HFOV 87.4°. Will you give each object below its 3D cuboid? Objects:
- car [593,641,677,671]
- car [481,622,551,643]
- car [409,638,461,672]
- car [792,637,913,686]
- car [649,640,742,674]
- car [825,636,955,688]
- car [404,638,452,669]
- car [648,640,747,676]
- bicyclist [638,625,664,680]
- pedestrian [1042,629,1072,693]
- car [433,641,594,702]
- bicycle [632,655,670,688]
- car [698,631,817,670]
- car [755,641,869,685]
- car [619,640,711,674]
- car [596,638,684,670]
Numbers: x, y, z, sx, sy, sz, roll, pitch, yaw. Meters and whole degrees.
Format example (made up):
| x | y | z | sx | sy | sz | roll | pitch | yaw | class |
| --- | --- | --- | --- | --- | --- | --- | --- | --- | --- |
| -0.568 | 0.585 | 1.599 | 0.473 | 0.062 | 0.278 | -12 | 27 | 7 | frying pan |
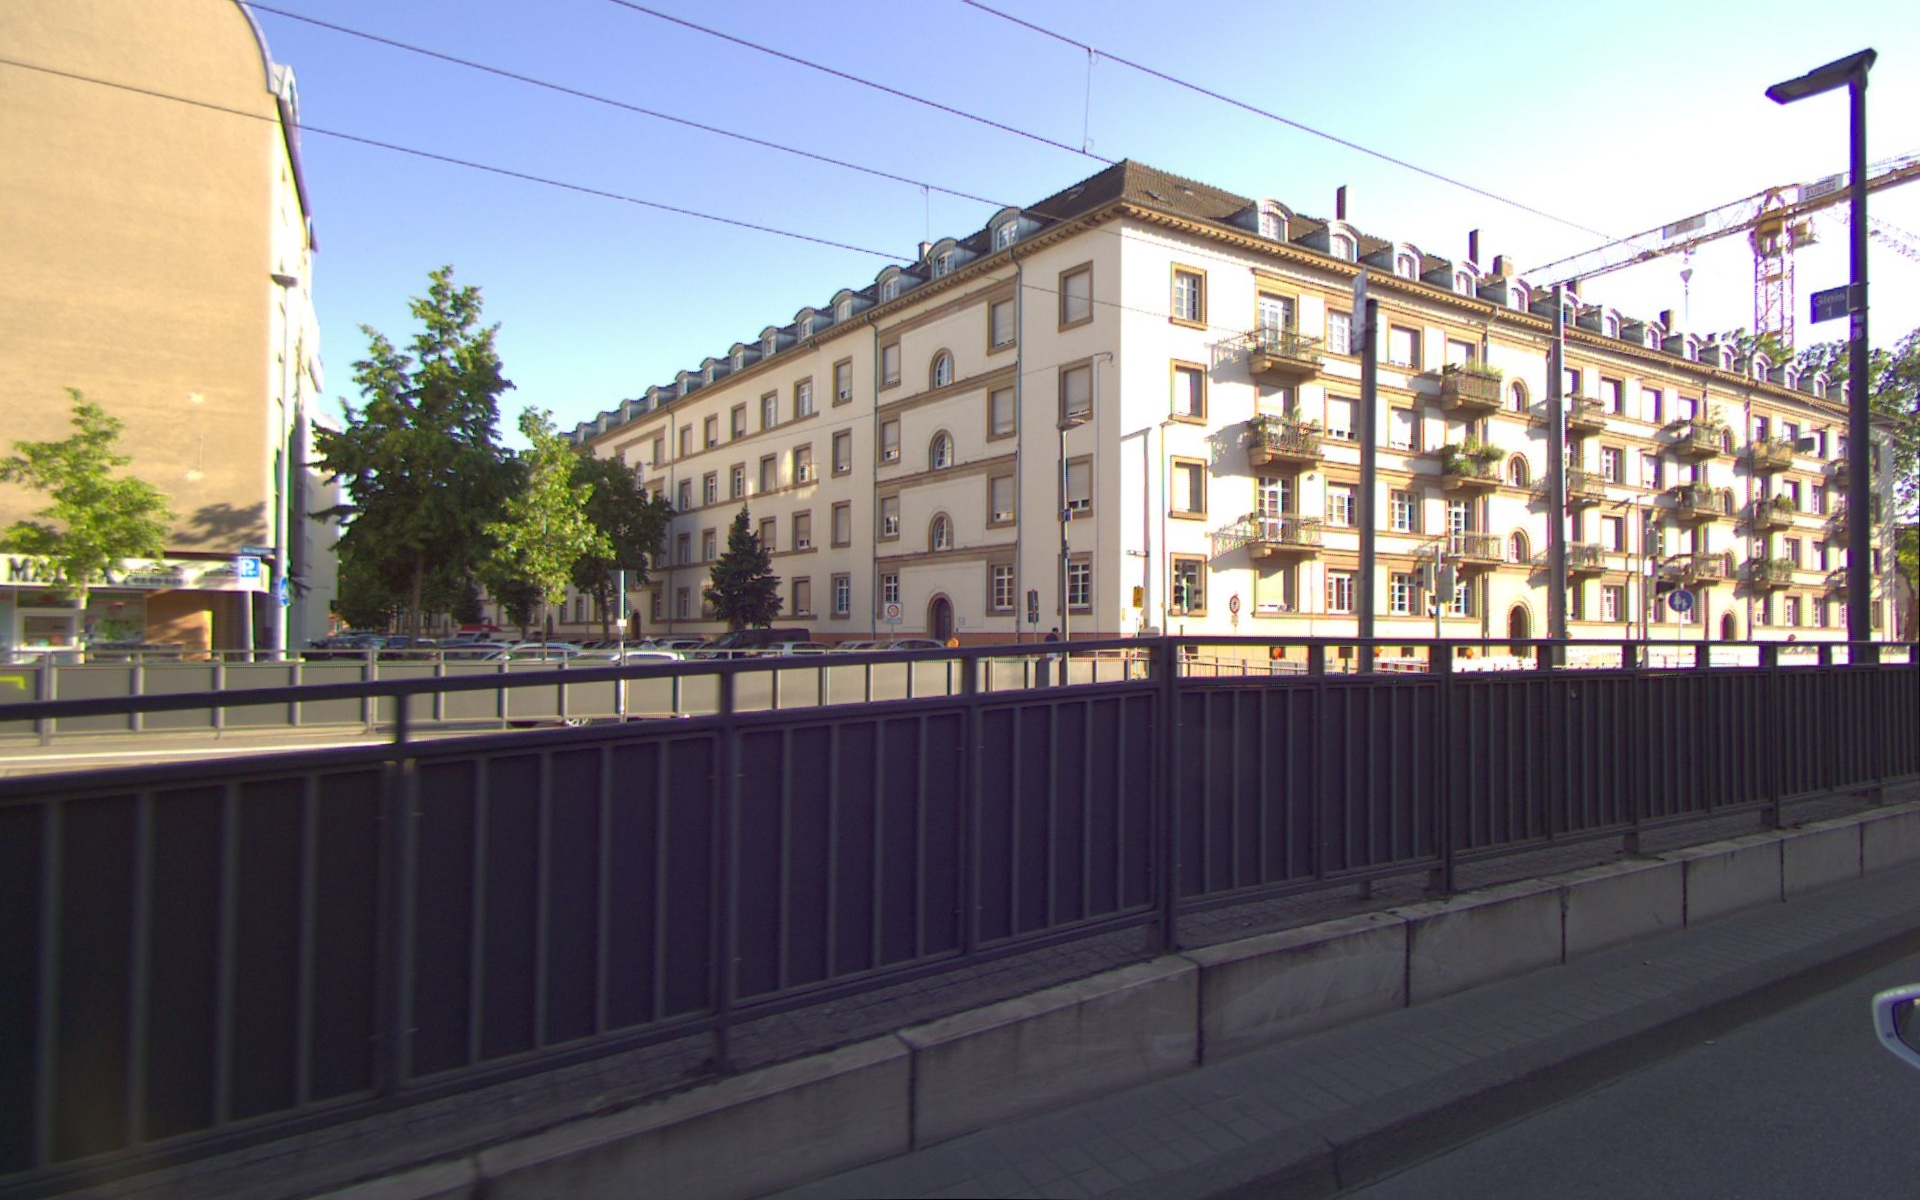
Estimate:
| x | y | z | sx | sy | sz | roll | pitch | yaw | class |
| --- | --- | --- | --- | --- | --- | --- | --- | --- | --- |
| -17.352 | 2.971 | 53.676 | 3.961 | 1.521 | 1.825 | 1 | -2 | -36 | car |
| -33.930 | 2.488 | 76.828 | 4.667 | 1.521 | 1.825 | 1 | -2 | -36 | car |
| -26.510 | 2.761 | 50.681 | 1.825 | 1.606 | 4.116 | 1 | -2 | -35 | car |
| -3.826 | 2.142 | 35.944 | 3.961 | 1.606 | 1.825 | 1 | -2 | -36 | car |
| -12.604 | 2.686 | 47.924 | 3.961 | 1.521 | 1.825 | 1 | -2 | -36 | car |
| -2.372 | 2.069 | 34.244 | 4.090 | 1.606 | 1.825 | 1 | -2 | -36 | car |
| -29.179 | 2.915 | 55.005 | 1.825 | 1.606 | 4.116 | 1 | -2 | -35 | car |
| -11.825 | 2.588 | 45.323 | 3.961 | 1.521 | 1.825 | 1 | -2 | -36 | car |
| -9.689 | 1.651 | 31.491 | 0.660 | 1.702 | 0.482 | 1 | -2 | -34 | bicyclist |
| 3.146 | 1.975 | 32.695 | 0.618 | 2.040 | 0.797 | 0 | -2 | -30 | pedestrian |
| -13.181 | 2.054 | 29.747 | 4.116 | 1.606 | 1.825 | 1 | -2 | -36 | car |
| -9.688 | 2.233 | 31.471 | 0.678 | 0.960 | 1.726 | 1 | -2 | -33 | bicycle |
| -8.537 | 2.094 | 42.545 | 4.667 | 1.521 | 1.825 | 1 | -2 | -36 | car |
| -5.623 | 2.370 | 38.301 | 3.961 | 1.521 | 1.825 | 1 | -2 | -36 | car |
| -14.379 | 2.740 | 49.025 | 3.961 | 1.521 | 1.825 | 1 | -2 | -36 | car |
| -16.364 | 2.712 | 51.378 | 3.961 | 1.521 | 1.825 | 1 | -2 | -36 | car |
